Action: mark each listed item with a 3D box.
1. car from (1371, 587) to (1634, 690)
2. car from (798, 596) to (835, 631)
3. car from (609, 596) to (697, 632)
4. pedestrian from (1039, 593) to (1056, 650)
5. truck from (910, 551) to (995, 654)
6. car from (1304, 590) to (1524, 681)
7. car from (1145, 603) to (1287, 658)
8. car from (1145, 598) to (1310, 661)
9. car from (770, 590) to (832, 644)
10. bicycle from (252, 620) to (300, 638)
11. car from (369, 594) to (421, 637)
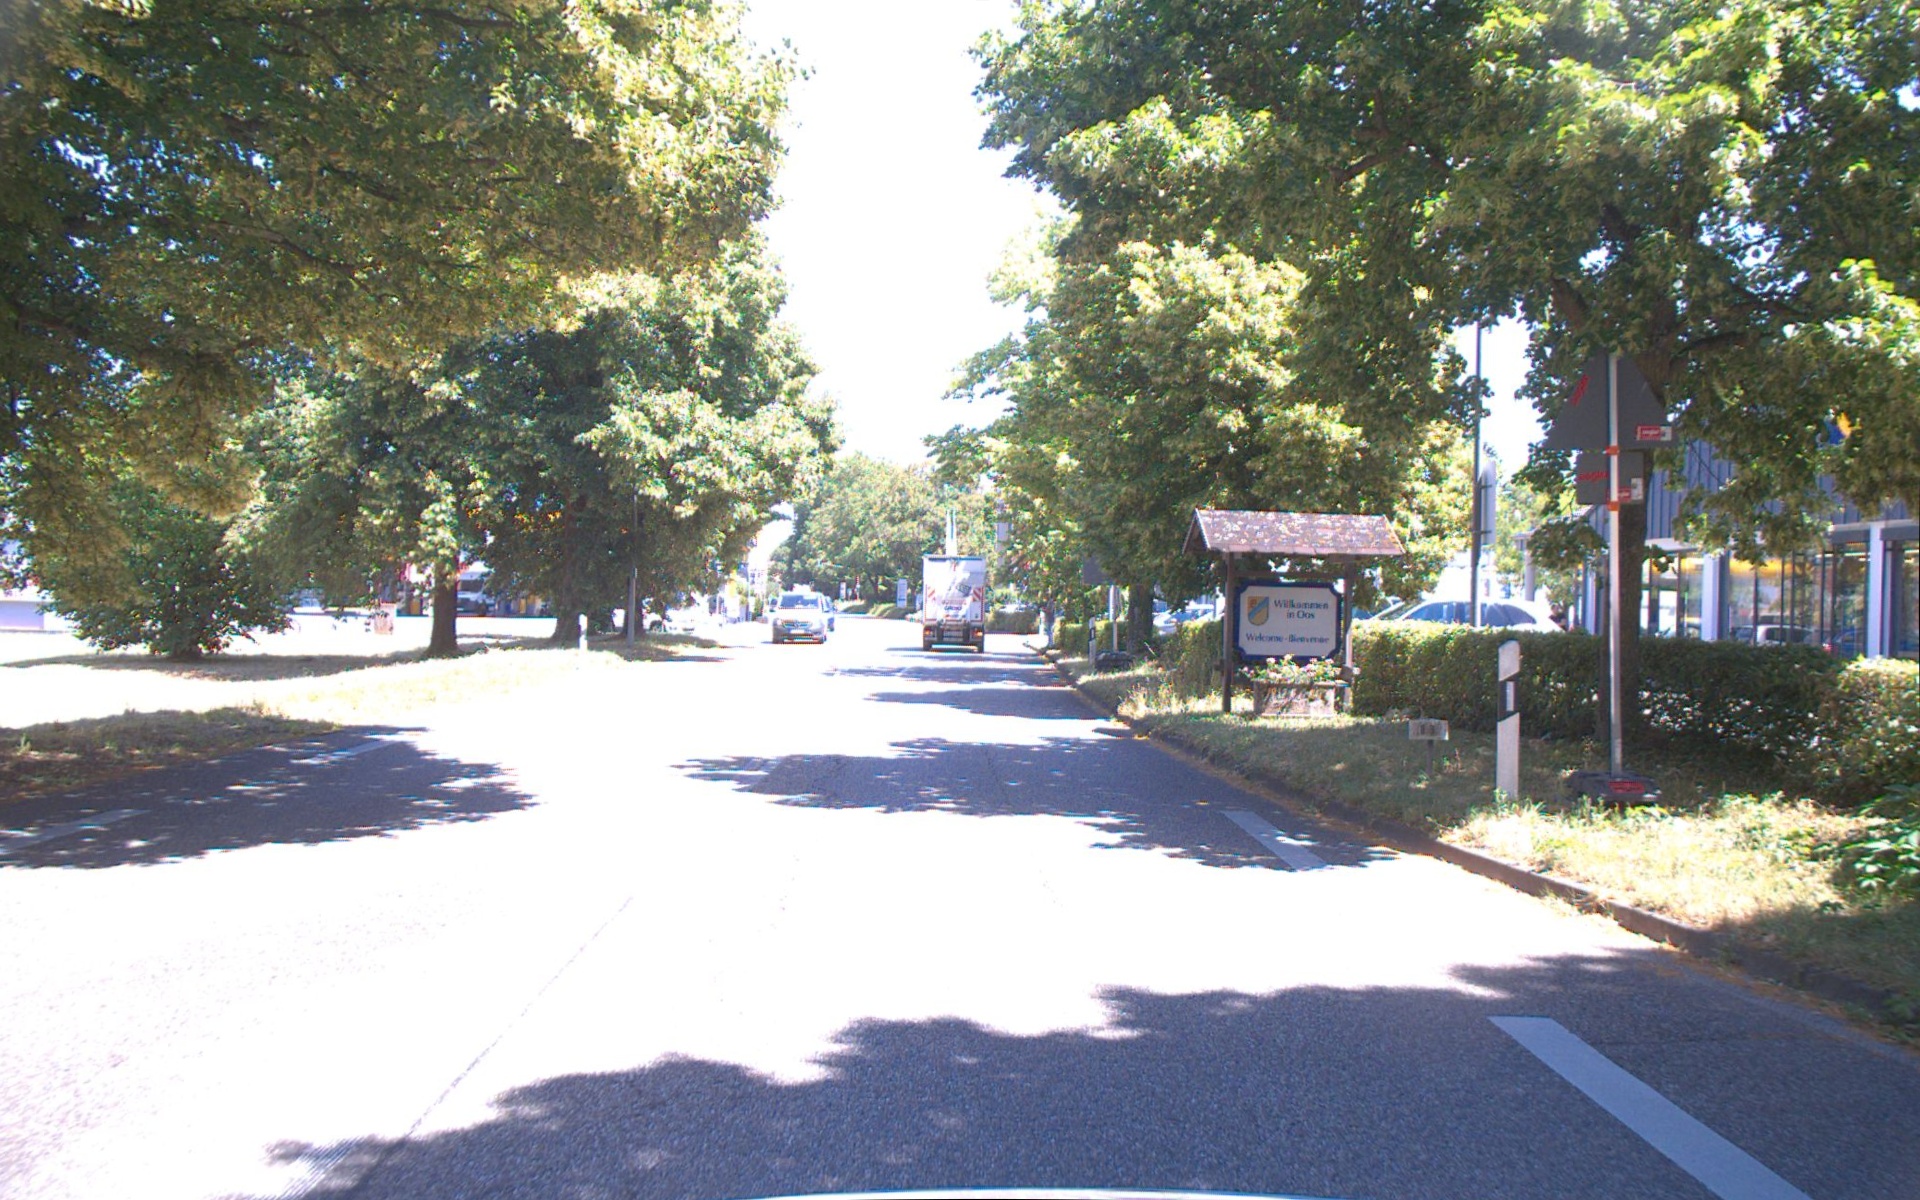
[{"bbox_3d":[9.174,0.638,28.178,3.855,1.592,1.797,2,0,-2],"label":"car"},{"bbox_3d":[-7.468,0.684,86.353,1.709,1.776,4.577,0,0,-2],"label":"car"},{"bbox_3d":[-12.246,0.548,65.986,3.356,1.386,1.333,0,0,27],"label":"car"},{"bbox_3d":[2.792,0.688,52.598,0.536,1.807,0.577,0,-1,3],"label":"pedestrian"},{"bbox_3d":[-0.172,0.048,54.134,2.481,3.190,5.363,0,1,3],"label":"truck"},{"bbox_3d":[9.124,0.698,33.454,3.936,1.757,1.852,0,0,-2],"label":"car"},{"bbox_3d":[7.459,0.883,48.466,3.865,1.537,1.706,0,0,-2],"label":"car"},{"bbox_3d":[7.006,0.762,43.646,4.023,1.604,1.866,0,0,-2],"label":"car"},{"bbox_3d":[-5.883,0.597,60.717,1.956,1.889,5.305,0,0,-9],"label":"car"},{"bbox_3d":[-26.508,1.122,64.133,1.640,0.657,0.424,0,0,-7],"label":"bicycle"},{"bbox_3d":[-22.214,0.597,65.104,1.708,1.613,3.983,1,0,-16],"label":"car"}]
